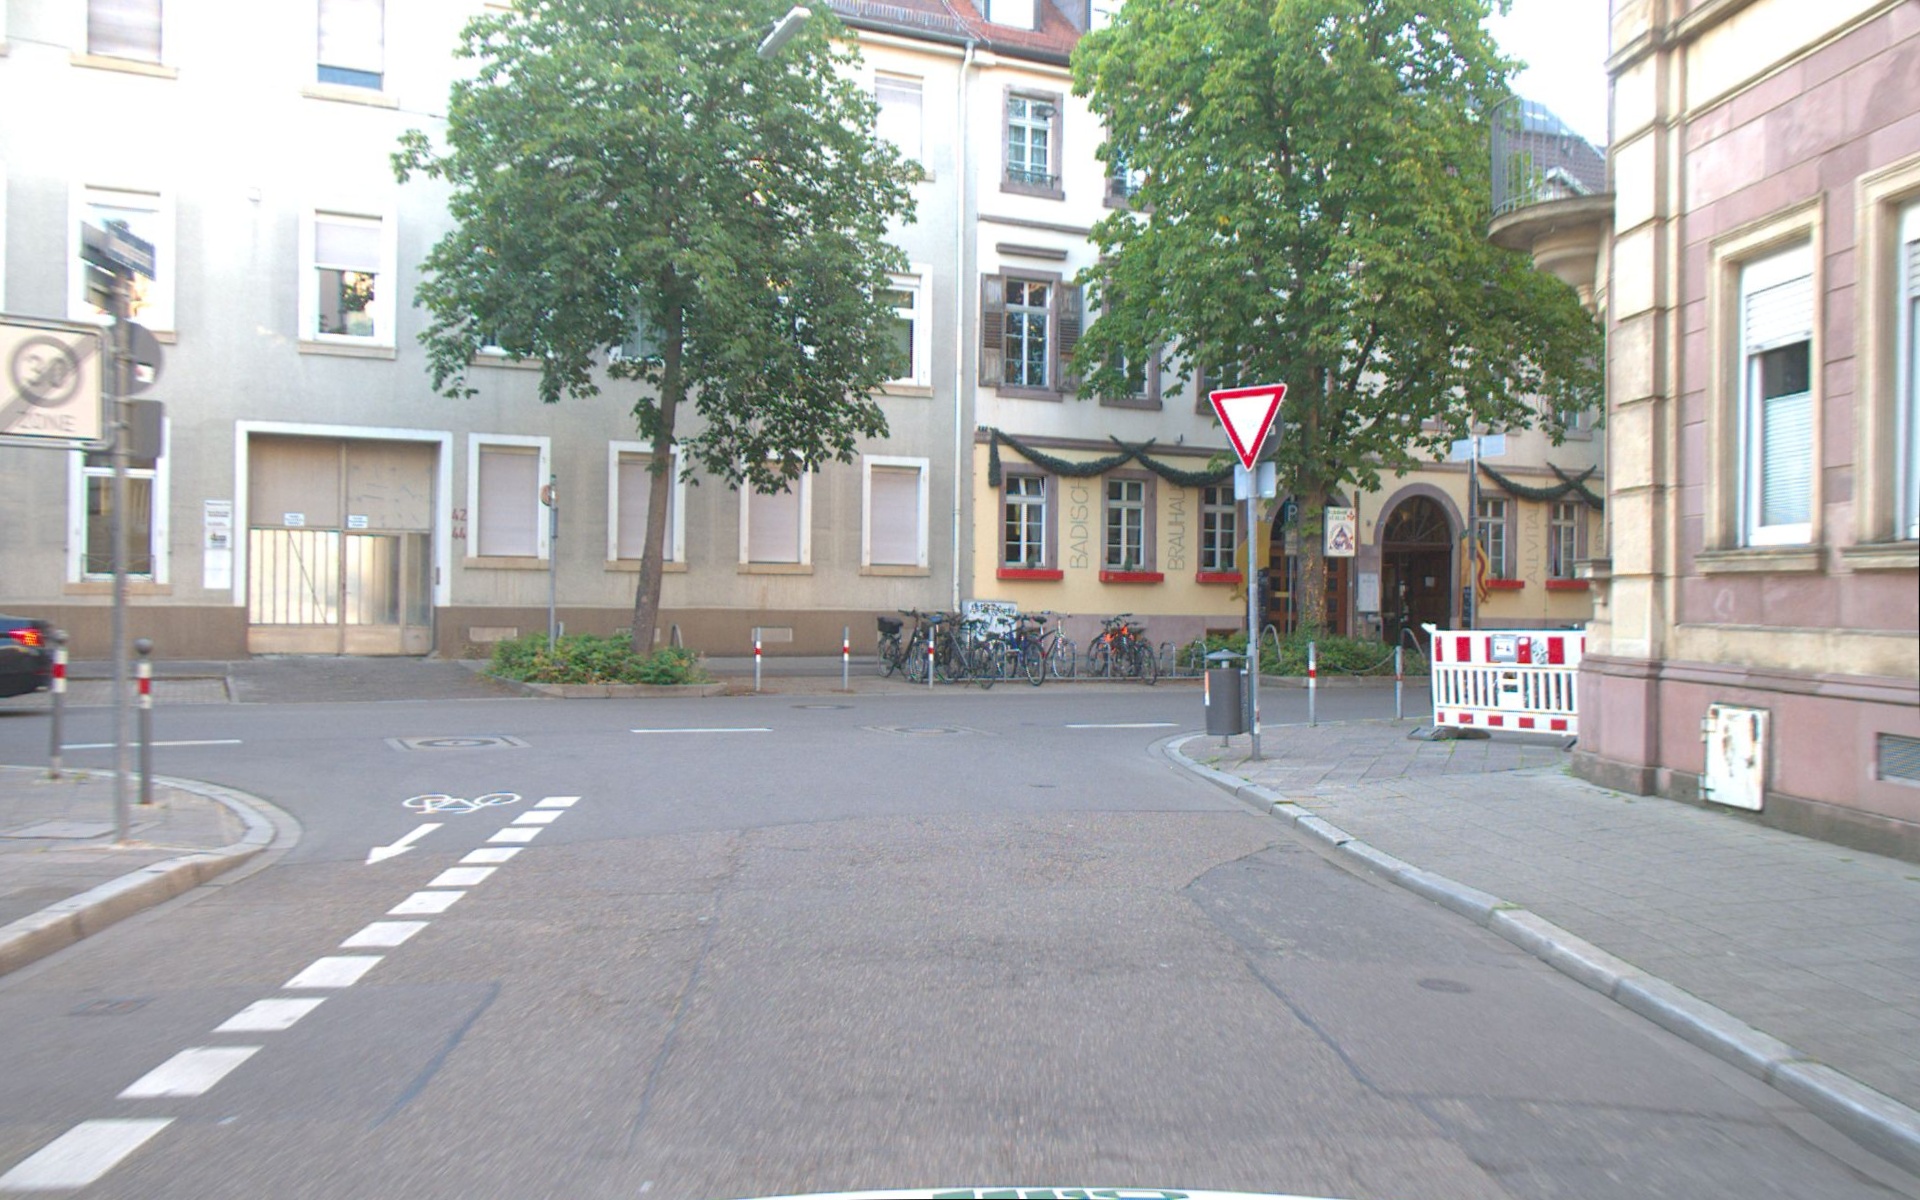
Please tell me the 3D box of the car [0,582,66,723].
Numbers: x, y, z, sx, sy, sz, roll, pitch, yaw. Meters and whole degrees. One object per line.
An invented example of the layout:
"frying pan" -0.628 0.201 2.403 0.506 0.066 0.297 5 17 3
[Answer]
"car" -11.998 0.541 17.345 4.602 1.475 1.751 0 0 -29

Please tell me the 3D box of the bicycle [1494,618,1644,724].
"bicycle" 6.783 0.776 18.392 1.841 1.108 0.361 -1 -1 -26

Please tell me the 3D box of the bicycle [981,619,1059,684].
"bicycle" 0.988 0.853 27.912 0.415 1.021 2.025 0 0 -26

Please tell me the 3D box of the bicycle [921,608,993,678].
"bicycle" -0.068 0.726 28.679 0.415 1.165 2.025 0 0 -26

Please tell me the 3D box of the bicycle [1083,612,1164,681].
"bicycle" 2.863 0.800 29.172 0.415 1.165 2.025 0 0 -26

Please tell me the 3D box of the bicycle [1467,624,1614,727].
"bicycle" 6.635 0.846 18.879 1.841 1.108 0.361 -1 -1 -26

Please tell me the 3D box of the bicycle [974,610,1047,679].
"bicycle" 0.875 0.767 29.347 0.415 1.165 2.025 0 0 -26

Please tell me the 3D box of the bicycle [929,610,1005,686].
"bicycle" 0.091 0.764 27.072 0.439 1.165 2.026 0 0 -24

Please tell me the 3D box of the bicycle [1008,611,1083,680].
"bicycle" 1.508 0.790 29.612 0.415 1.165 2.025 0 0 -26

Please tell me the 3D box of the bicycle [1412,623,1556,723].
"bicycle" 6.162 0.839 19.414 1.841 1.108 0.361 -1 -1 -26

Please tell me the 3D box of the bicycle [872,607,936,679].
"bicycle" -0.969 0.711 28.233 0.438 1.165 2.029 0 0 -22

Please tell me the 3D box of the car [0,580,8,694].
"car" -13.240 0.496 21.240 1.542 1.501 3.635 0 1 -27
